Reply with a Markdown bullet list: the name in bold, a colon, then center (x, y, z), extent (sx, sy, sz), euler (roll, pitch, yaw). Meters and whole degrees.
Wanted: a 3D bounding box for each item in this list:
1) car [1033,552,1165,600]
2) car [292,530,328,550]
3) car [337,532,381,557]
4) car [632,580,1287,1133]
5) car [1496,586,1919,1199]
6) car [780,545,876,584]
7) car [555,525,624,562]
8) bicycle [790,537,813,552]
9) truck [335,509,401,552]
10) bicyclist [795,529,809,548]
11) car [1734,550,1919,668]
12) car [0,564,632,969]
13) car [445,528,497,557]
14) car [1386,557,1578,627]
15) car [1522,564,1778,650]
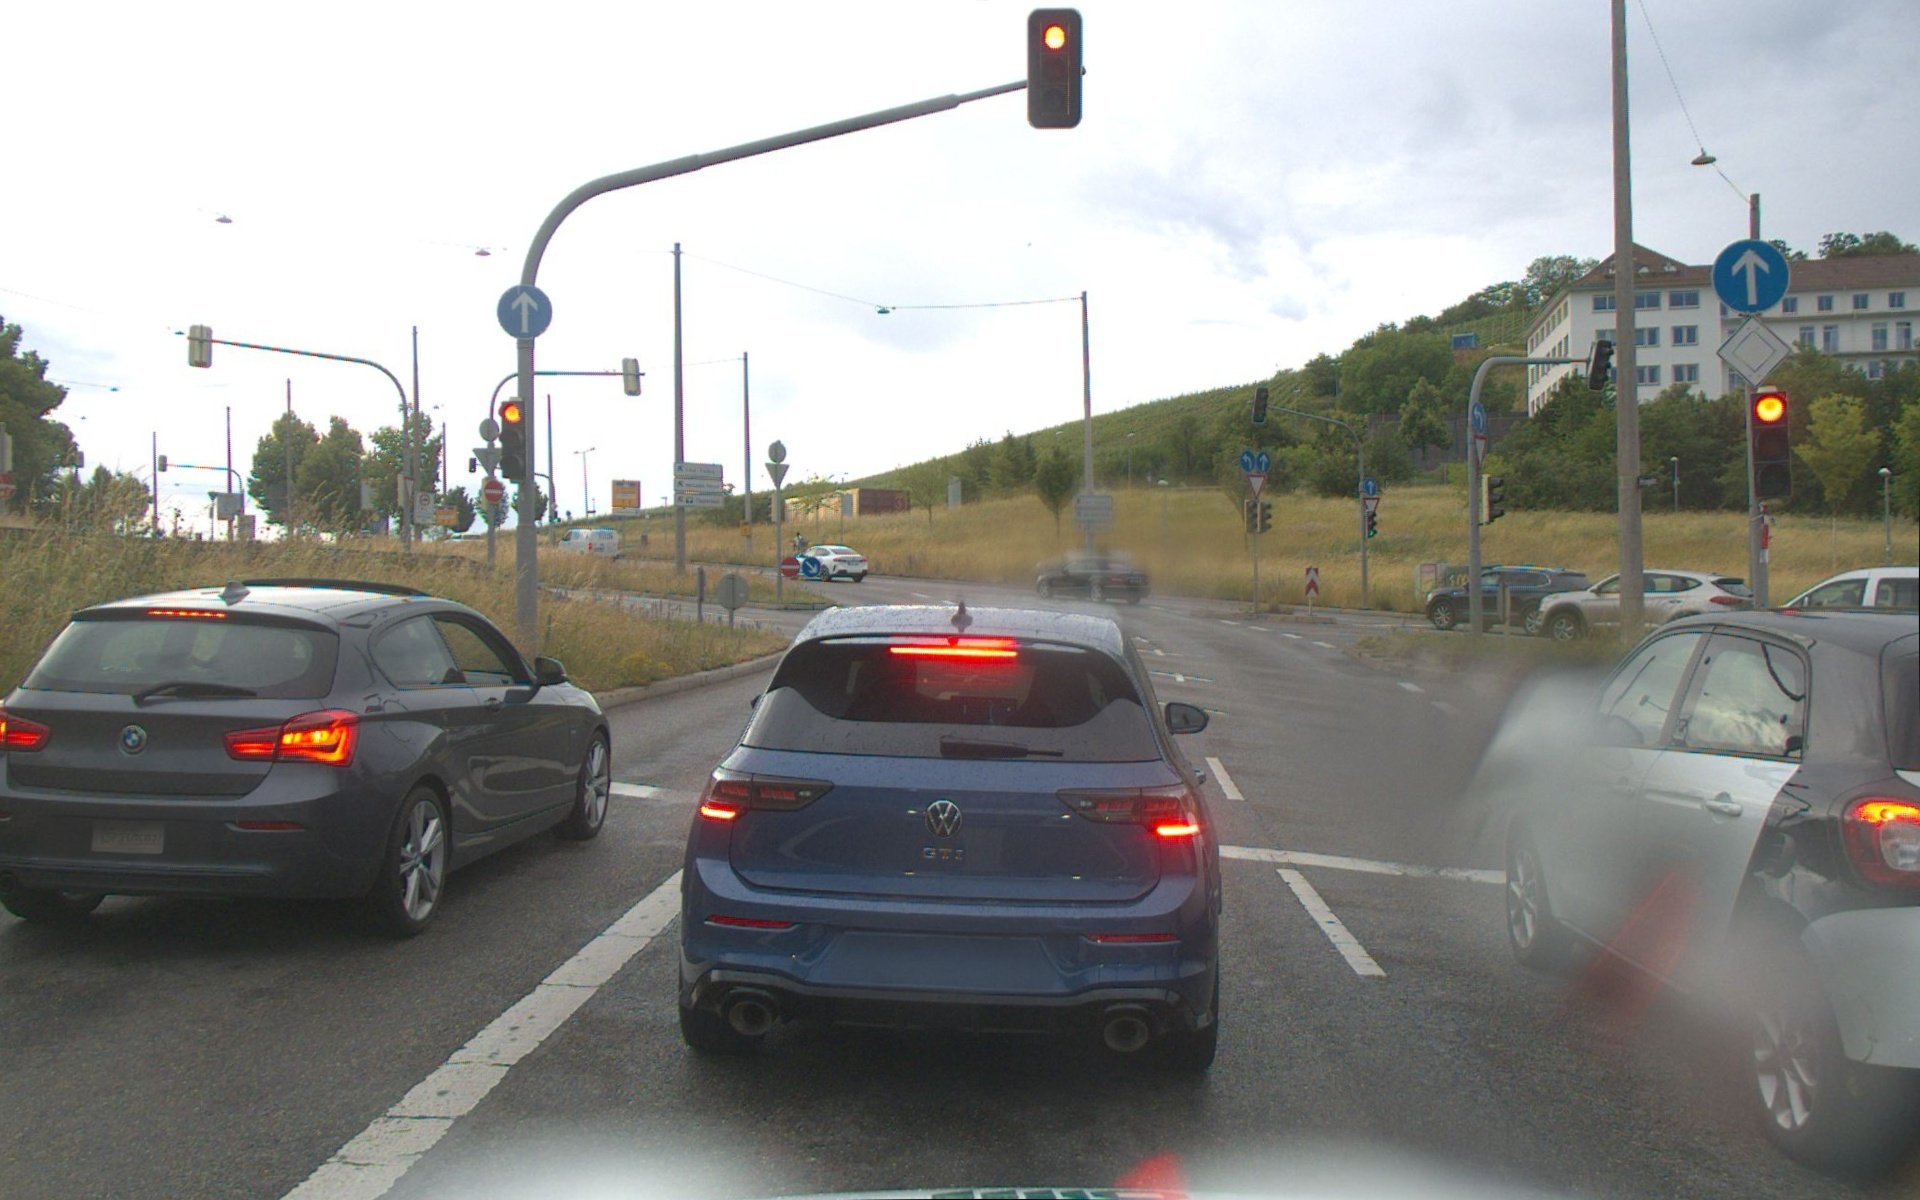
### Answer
- **car**: center (4.596, -0.757, 55.243), extent (1.978, 1.503, 4.446), euler (1, -1, -36)
- **car**: center (-58.519, -5.423, 148.891), extent (1.977, 1.688, 4.488), euler (2, 1, -36)
- **car**: center (-45.026, -4.151, 123.844), extent (1.978, 1.688, 4.298), euler (1, -1, -36)
- **car**: center (0.089, 0.684, 6.461), extent (1.787, 1.486, 3.810), euler (1, 1, 3)
- **car**: center (3.180, 0.762, 5.831), extent (1.623, 1.529, 3.452), euler (1, -1, 3)
- **car**: center (-5.543, -1.455, 69.126), extent (1.979, 1.503, 4.362), euler (1, -1, -37)
- **car**: center (-20.411, -3.066, 91.000), extent (2.111, 1.826, 4.683), euler (1, -1, -35)
- **bicycle**: center (-9.179, -3.228, 95.816), extent (0.514, 0.788, 1.600), euler (3, 1, -37)
- **truck**: center (-47.748, -5.620, 133.302), extent (3.234, 3.128, 6.096), euler (4, 0, -37)
- **bicyclist**: center (-9.142, -3.582, 95.806), extent (0.519, 1.065, 0.572), euler (4, 0, -39)
- **car**: center (15.635, 0.161, 27.591), extent (1.804, 1.882, 4.632), euler (1, -1, -39)
- **car**: center (-2.952, 0.637, 8.211), extent (1.667, 1.485, 4.115), euler (0, -1, 2)
- **car**: center (-32.781, -3.840, 110.877), extent (1.978, 1.688, 4.487), euler (1, -1, -36)
- **car**: center (13.266, -0.179, 42.245), extent (1.979, 1.665, 4.362), euler (1, -1, -37)
- **car**: center (14.076, 0.145, 33.909), extent (1.983, 1.649, 4.456), euler (2, -1, -42)
